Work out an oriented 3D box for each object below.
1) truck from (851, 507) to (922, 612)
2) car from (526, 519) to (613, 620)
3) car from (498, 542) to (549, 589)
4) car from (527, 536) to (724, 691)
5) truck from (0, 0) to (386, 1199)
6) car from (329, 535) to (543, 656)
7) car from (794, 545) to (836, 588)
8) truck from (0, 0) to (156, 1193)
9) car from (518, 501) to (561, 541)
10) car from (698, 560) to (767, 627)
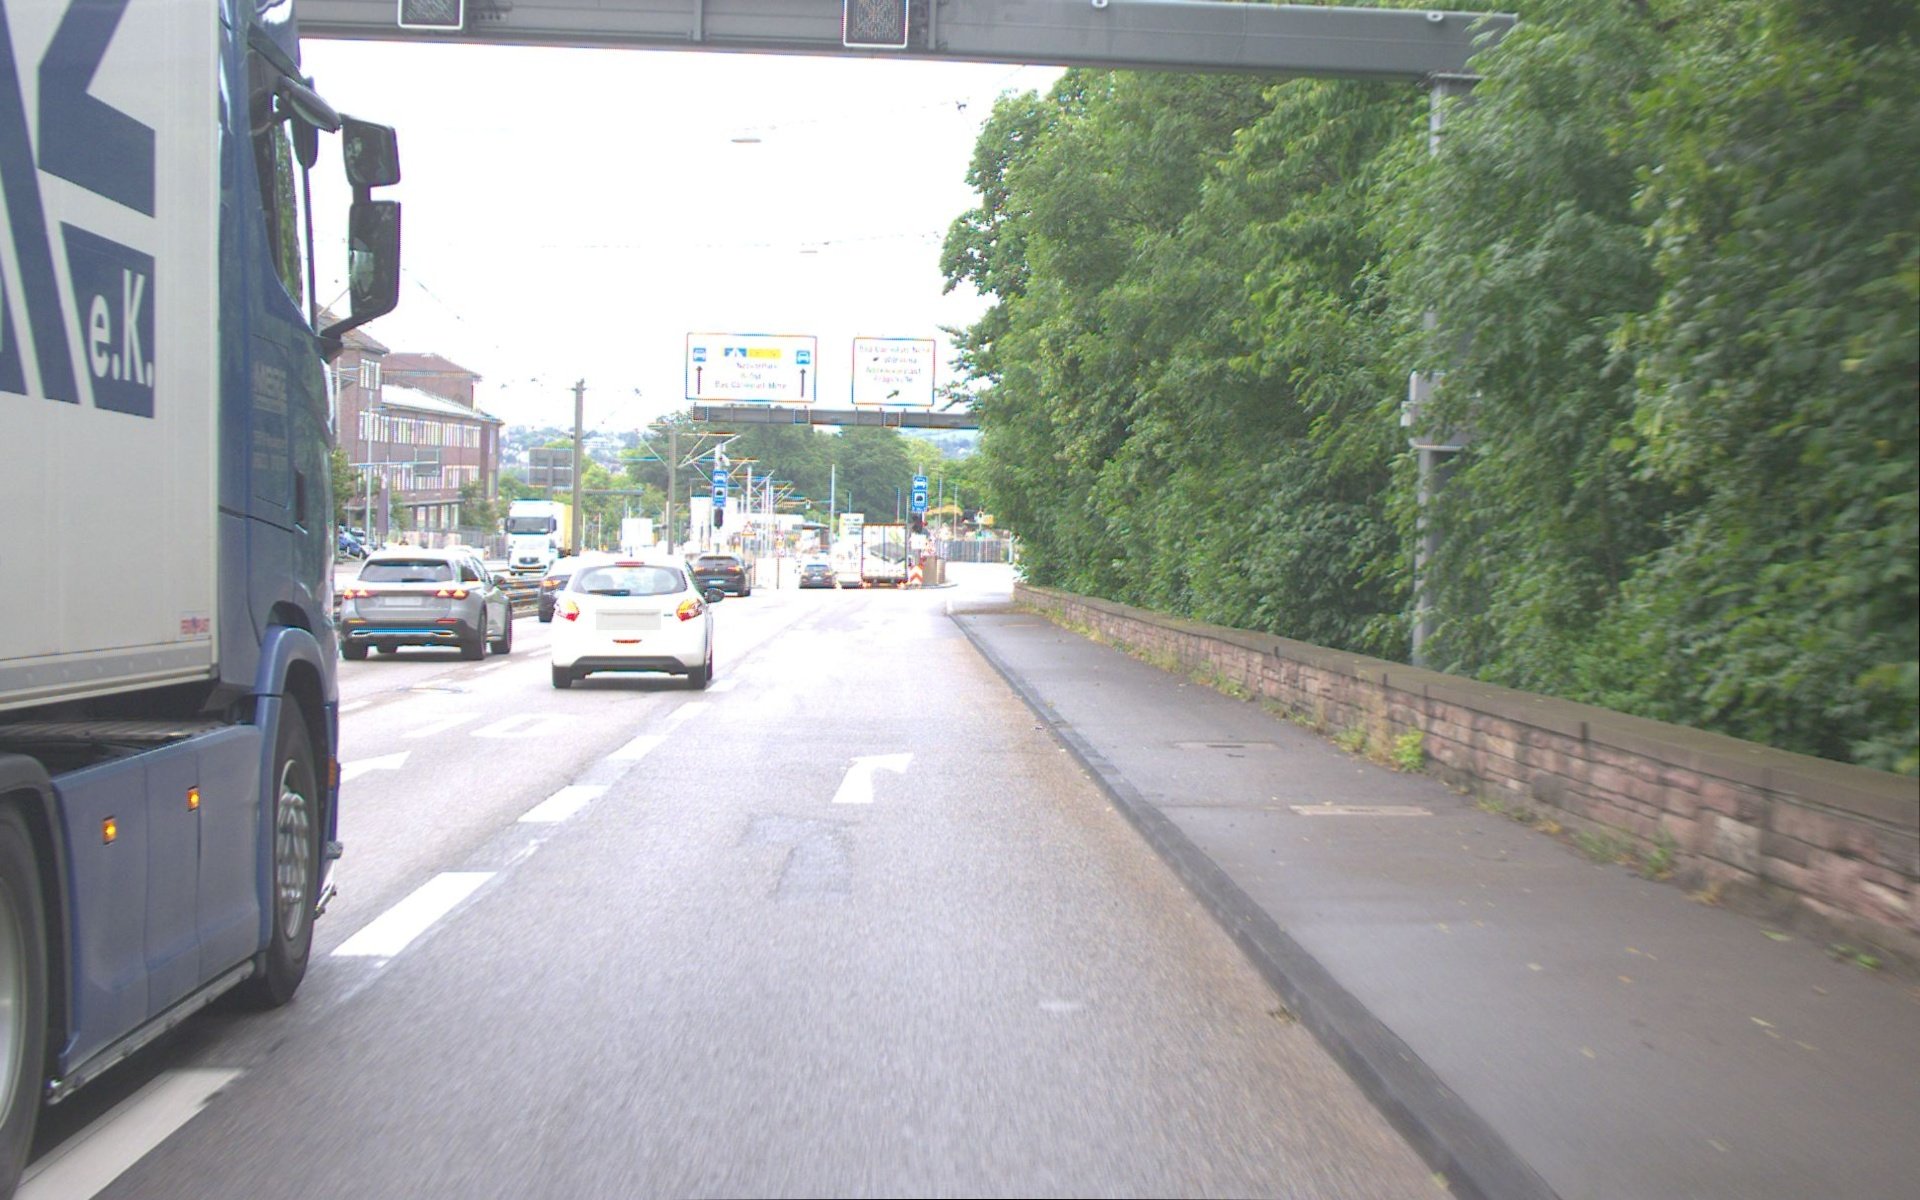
[{"bbox_3d":[-4.196,-2.237,199.064,3.465,5.383,12.050,2,-2,1],"label":"truck"},{"bbox_3d":[-8.137,-0.663,71.862,1.721,1.884,3.536,0,4,-5],"label":"car"},{"bbox_3d":[-21.082,-1.653,166.095,1.993,2.007,4.000,2,-2,-1],"label":"car"},{"bbox_3d":[-3.704,0.113,38.643,1.955,1.483,4.001,2,3,-3],"label":"car"},{"bbox_3d":[-3.455,-0.747,9.310,2.762,4.182,6.785,0,1,-1],"label":"truck"},{"bbox_3d":[-7.121,-0.095,47.148,1.821,1.560,4.091,-1,1,7],"label":"car"},{"bbox_3d":[-7.518,-1.719,178.253,1.993,2.007,4.000,2,-2,-1],"label":"car"},{"bbox_3d":[-3.311,-0.717,2.212,2.762,4.182,13.032,0,1,-1],"label":"truck"},{"bbox_3d":[-24.037,-4.531,196.679,1.993,2.007,4.000,2,-2,-1],"label":"car"},{"bbox_3d":[-7.453,-0.199,112.969,1.993,2.007,4.000,2,-2,-1],"label":"car"}]
